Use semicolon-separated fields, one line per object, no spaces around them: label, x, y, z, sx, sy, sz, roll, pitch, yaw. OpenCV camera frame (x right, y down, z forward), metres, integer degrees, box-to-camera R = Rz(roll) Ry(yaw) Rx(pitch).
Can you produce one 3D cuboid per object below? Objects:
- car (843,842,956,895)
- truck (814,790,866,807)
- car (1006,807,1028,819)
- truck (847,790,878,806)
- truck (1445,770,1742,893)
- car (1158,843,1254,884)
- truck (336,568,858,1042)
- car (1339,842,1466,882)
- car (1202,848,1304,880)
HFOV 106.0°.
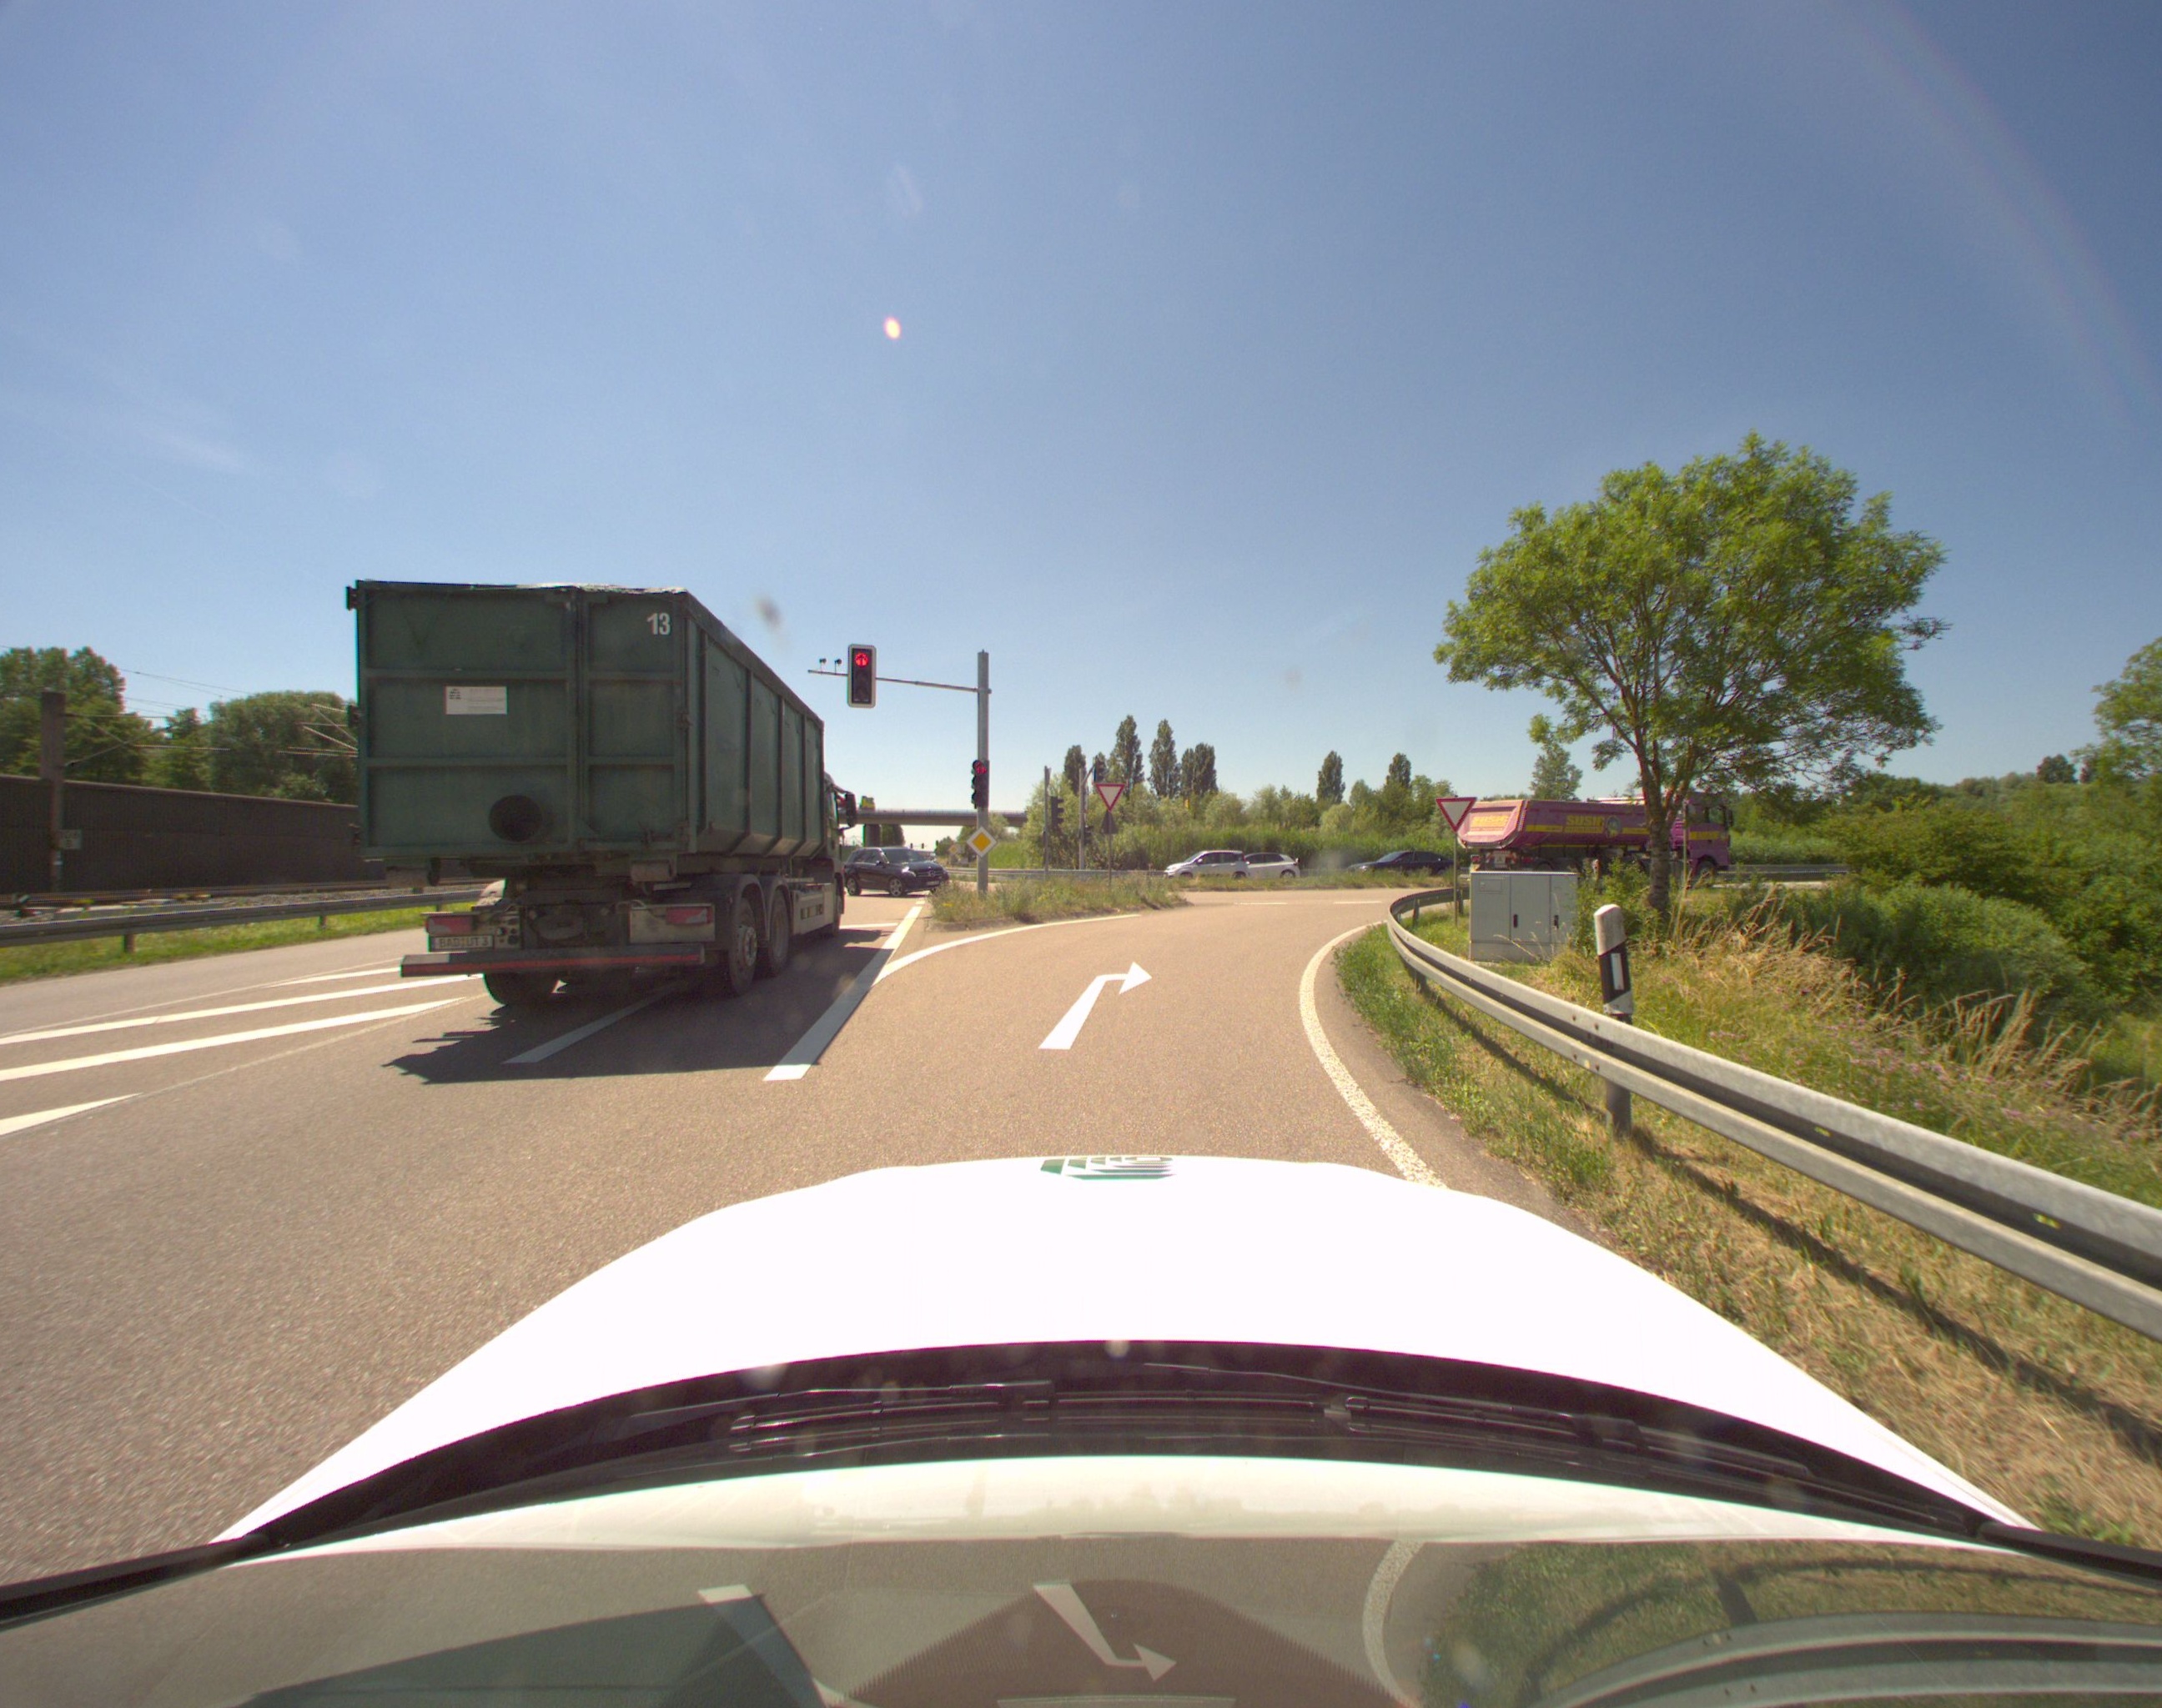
car;-6.578;0.452;29.216;1.944;1.767;4.542;0;1;-42
truck;-42.255;-9.726;142.734;8.492;2.674;1.994;-1;0;-9
car;-12.298;-7.900;156.846;4.175;2.013;1.994;-1;0;-9
truck;-38.435;-9.813;143.334;5.089;2.674;1.994;-1;0;-9
truck;18.486;-0.791;29.044;11.900;3.821;2.820;-1;0;-24
car;5.318;0.380;34.796;3.705;1.631;1.729;-1;0;-9
truck;-5.159;-0.442;11.348;2.588;3.737;9.550;-1;1;-7
car;14.191;0.343;36.043;4.919;1.631;1.929;-1;0;-7
car;8.148;0.473;38.791;4.387;1.398;1.995;-1;0;-7
